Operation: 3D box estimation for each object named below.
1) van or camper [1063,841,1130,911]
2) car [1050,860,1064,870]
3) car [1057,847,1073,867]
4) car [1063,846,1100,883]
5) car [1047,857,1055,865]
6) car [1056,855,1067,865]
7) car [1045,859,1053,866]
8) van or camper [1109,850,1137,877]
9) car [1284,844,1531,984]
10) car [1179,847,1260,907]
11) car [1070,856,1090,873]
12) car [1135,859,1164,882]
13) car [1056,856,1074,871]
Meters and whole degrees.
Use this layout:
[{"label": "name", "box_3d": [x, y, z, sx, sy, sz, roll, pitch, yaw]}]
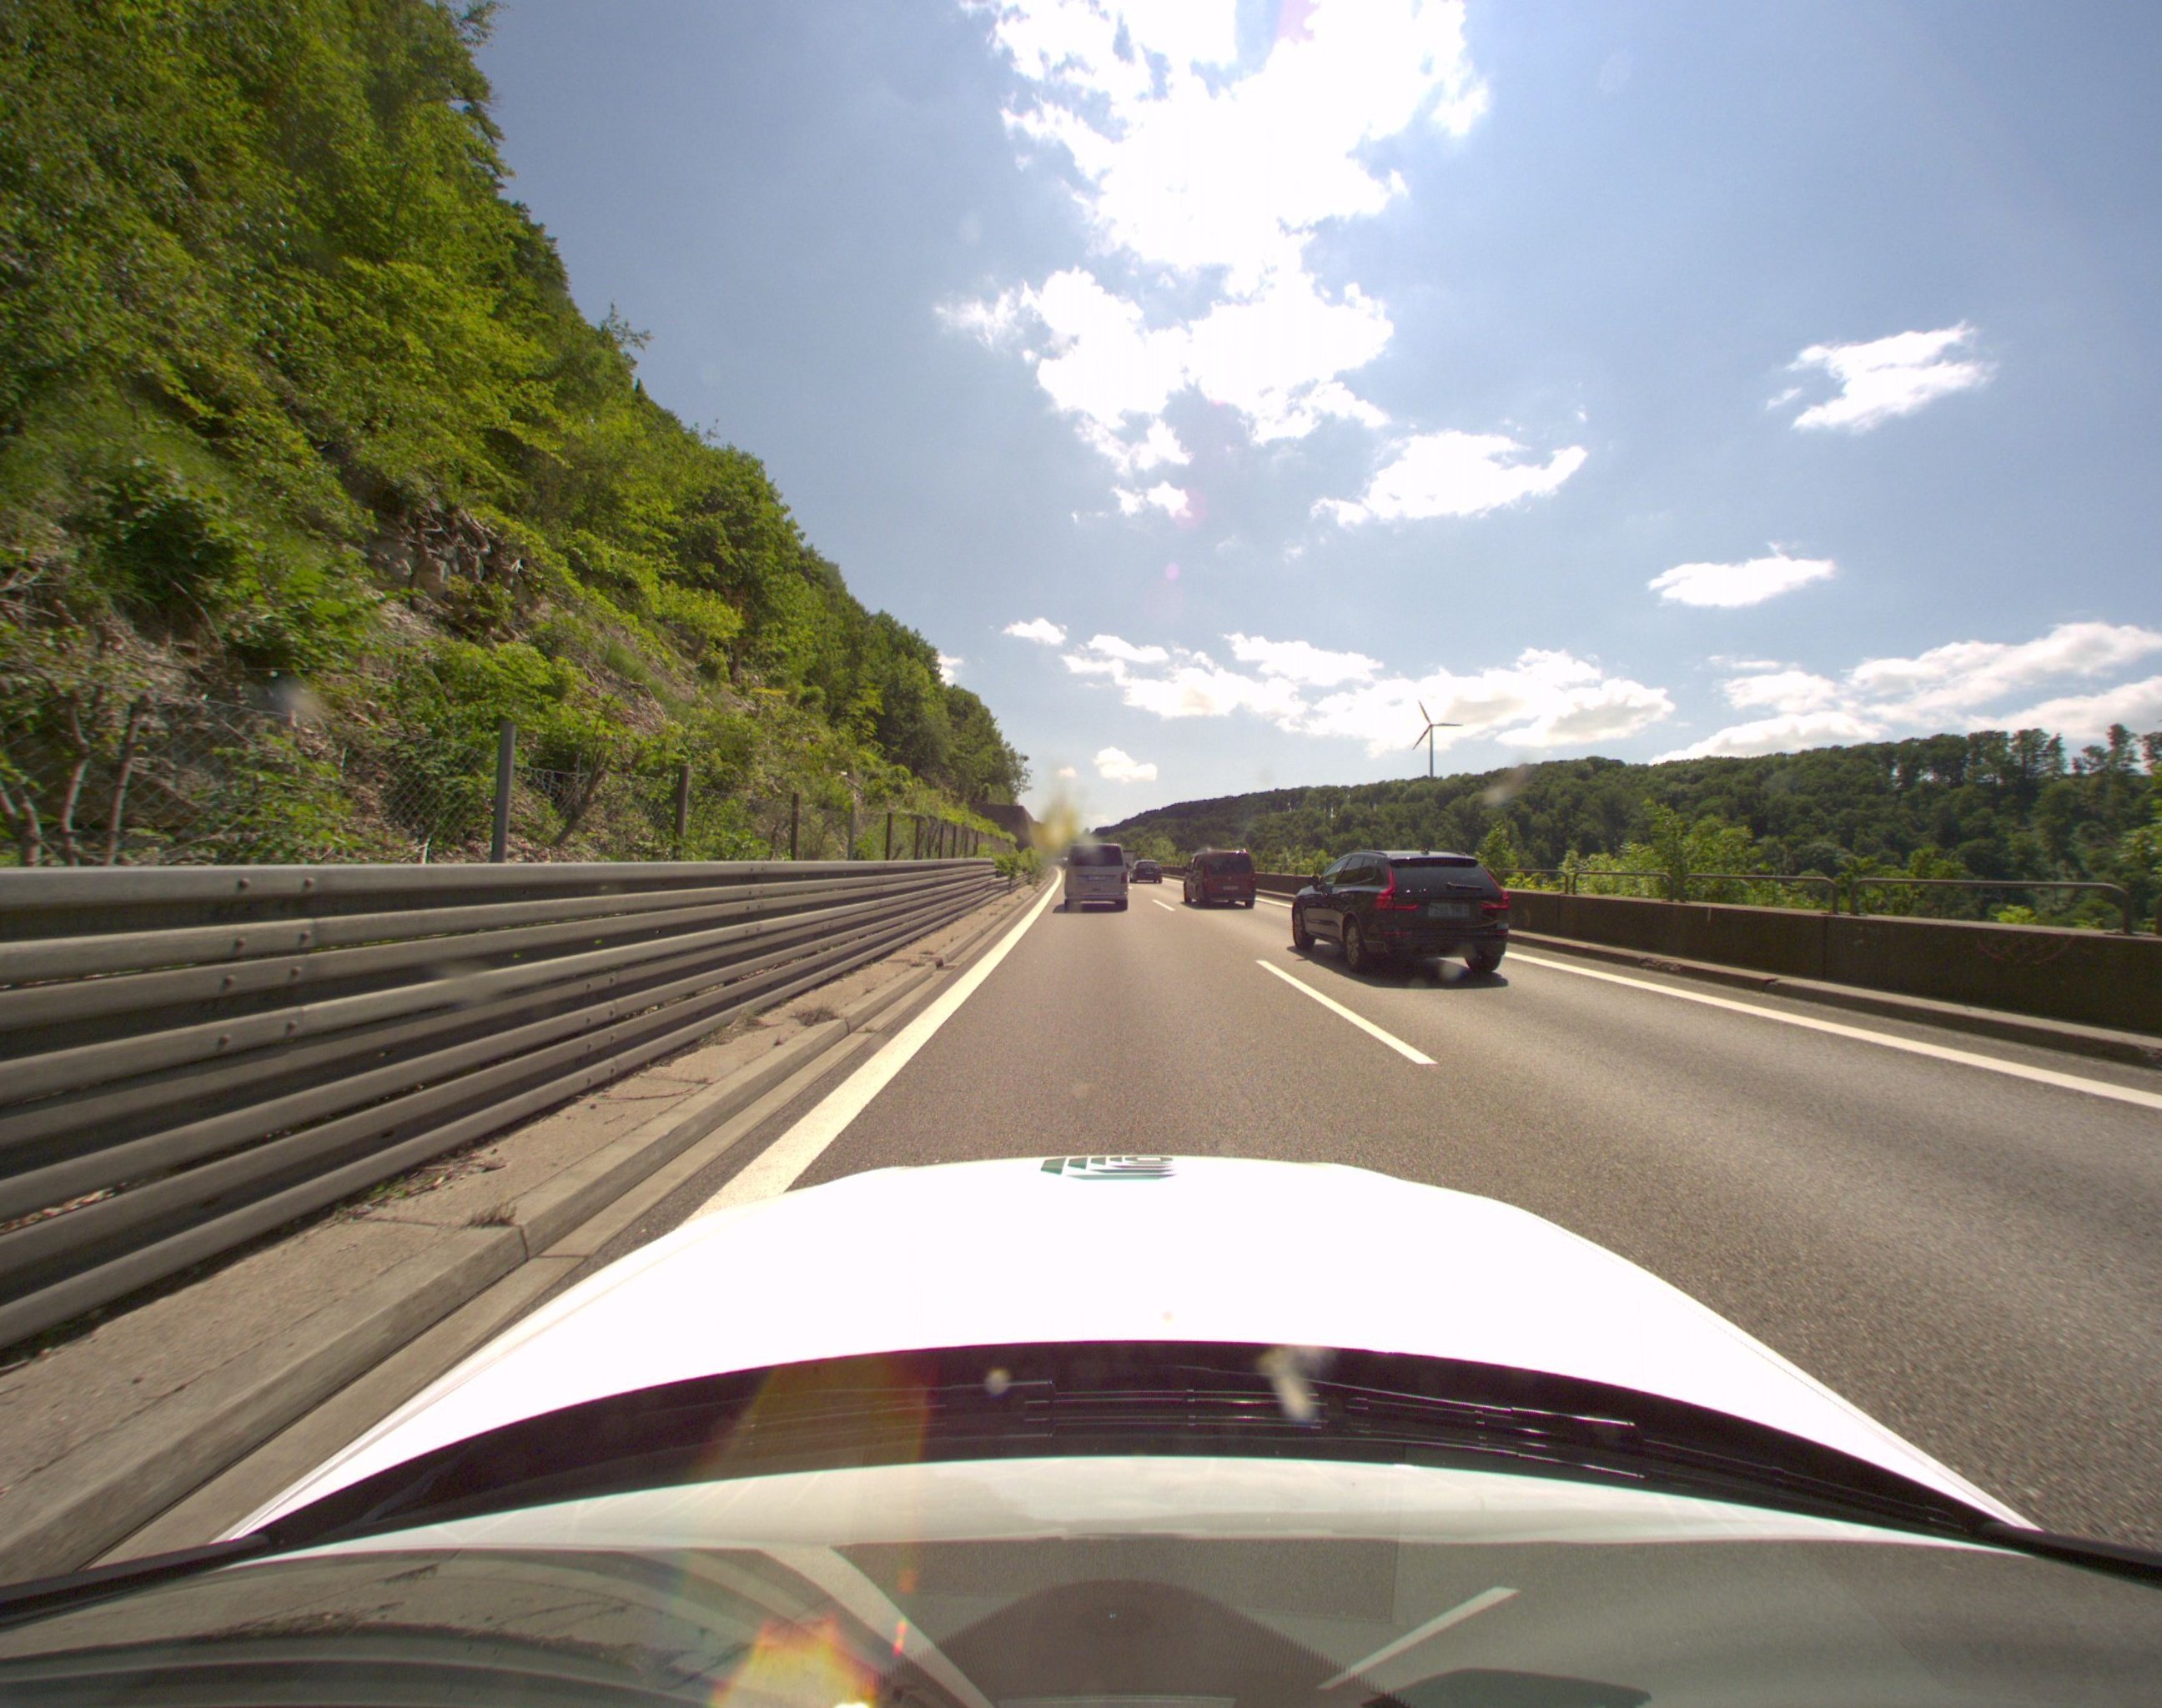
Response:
[{"label": "van or camper", "box_3d": [0.441, 0.662, 25.267, 1.870, 1.949, 4.293, -1, -1, 0]}, {"label": "car", "box_3d": [-3.954, 1.784, 135.391, 2.137, 1.607, 5.075, 0, 0, -1]}, {"label": "car", "box_3d": [-4.253, 0.809, 213.137, 4.032, 4.872, 10.101, -1, -1, -2]}, {"label": "car", "box_3d": [0.061, 0.624, 48.325, 1.985, 2.014, 4.002, -1, -1, 3]}, {"label": "car", "box_3d": [-6.708, 1.545, 181.735, 1.840, 1.750, 3.997, 0, 0, -1]}, {"label": "car", "box_3d": [-3.913, 1.239, 163.632, 1.987, 2.014, 3.999, -1, -1, 0]}, {"label": "car", "box_3d": [-8.077, 2.113, 203.729, 1.842, 1.750, 3.994, -1, 0, -4]}, {"label": "van or camper", "box_3d": [4.077, 0.904, 79.213, 2.258, 2.551, 4.732, -1, -1, -2]}, {"label": "car", "box_3d": [4.471, 0.698, 12.029, 1.828, 1.633, 4.663, -1, 0, 1]}, {"label": "car", "box_3d": [4.510, 0.745, 27.213, 1.828, 1.784, 4.674, -1, -1, -1]}, {"label": "car", "box_3d": [-0.168, 1.141, 87.339, 1.989, 1.818, 3.996, 0, 0, -3]}, {"label": "car", "box_3d": [4.289, 1.014, 51.427, 1.761, 1.376, 3.596, -1, 0, 3]}, {"label": "car", "box_3d": [-1.993, 1.214, 103.262, 1.986, 1.915, 4.002, 0, 0, 2]}]
